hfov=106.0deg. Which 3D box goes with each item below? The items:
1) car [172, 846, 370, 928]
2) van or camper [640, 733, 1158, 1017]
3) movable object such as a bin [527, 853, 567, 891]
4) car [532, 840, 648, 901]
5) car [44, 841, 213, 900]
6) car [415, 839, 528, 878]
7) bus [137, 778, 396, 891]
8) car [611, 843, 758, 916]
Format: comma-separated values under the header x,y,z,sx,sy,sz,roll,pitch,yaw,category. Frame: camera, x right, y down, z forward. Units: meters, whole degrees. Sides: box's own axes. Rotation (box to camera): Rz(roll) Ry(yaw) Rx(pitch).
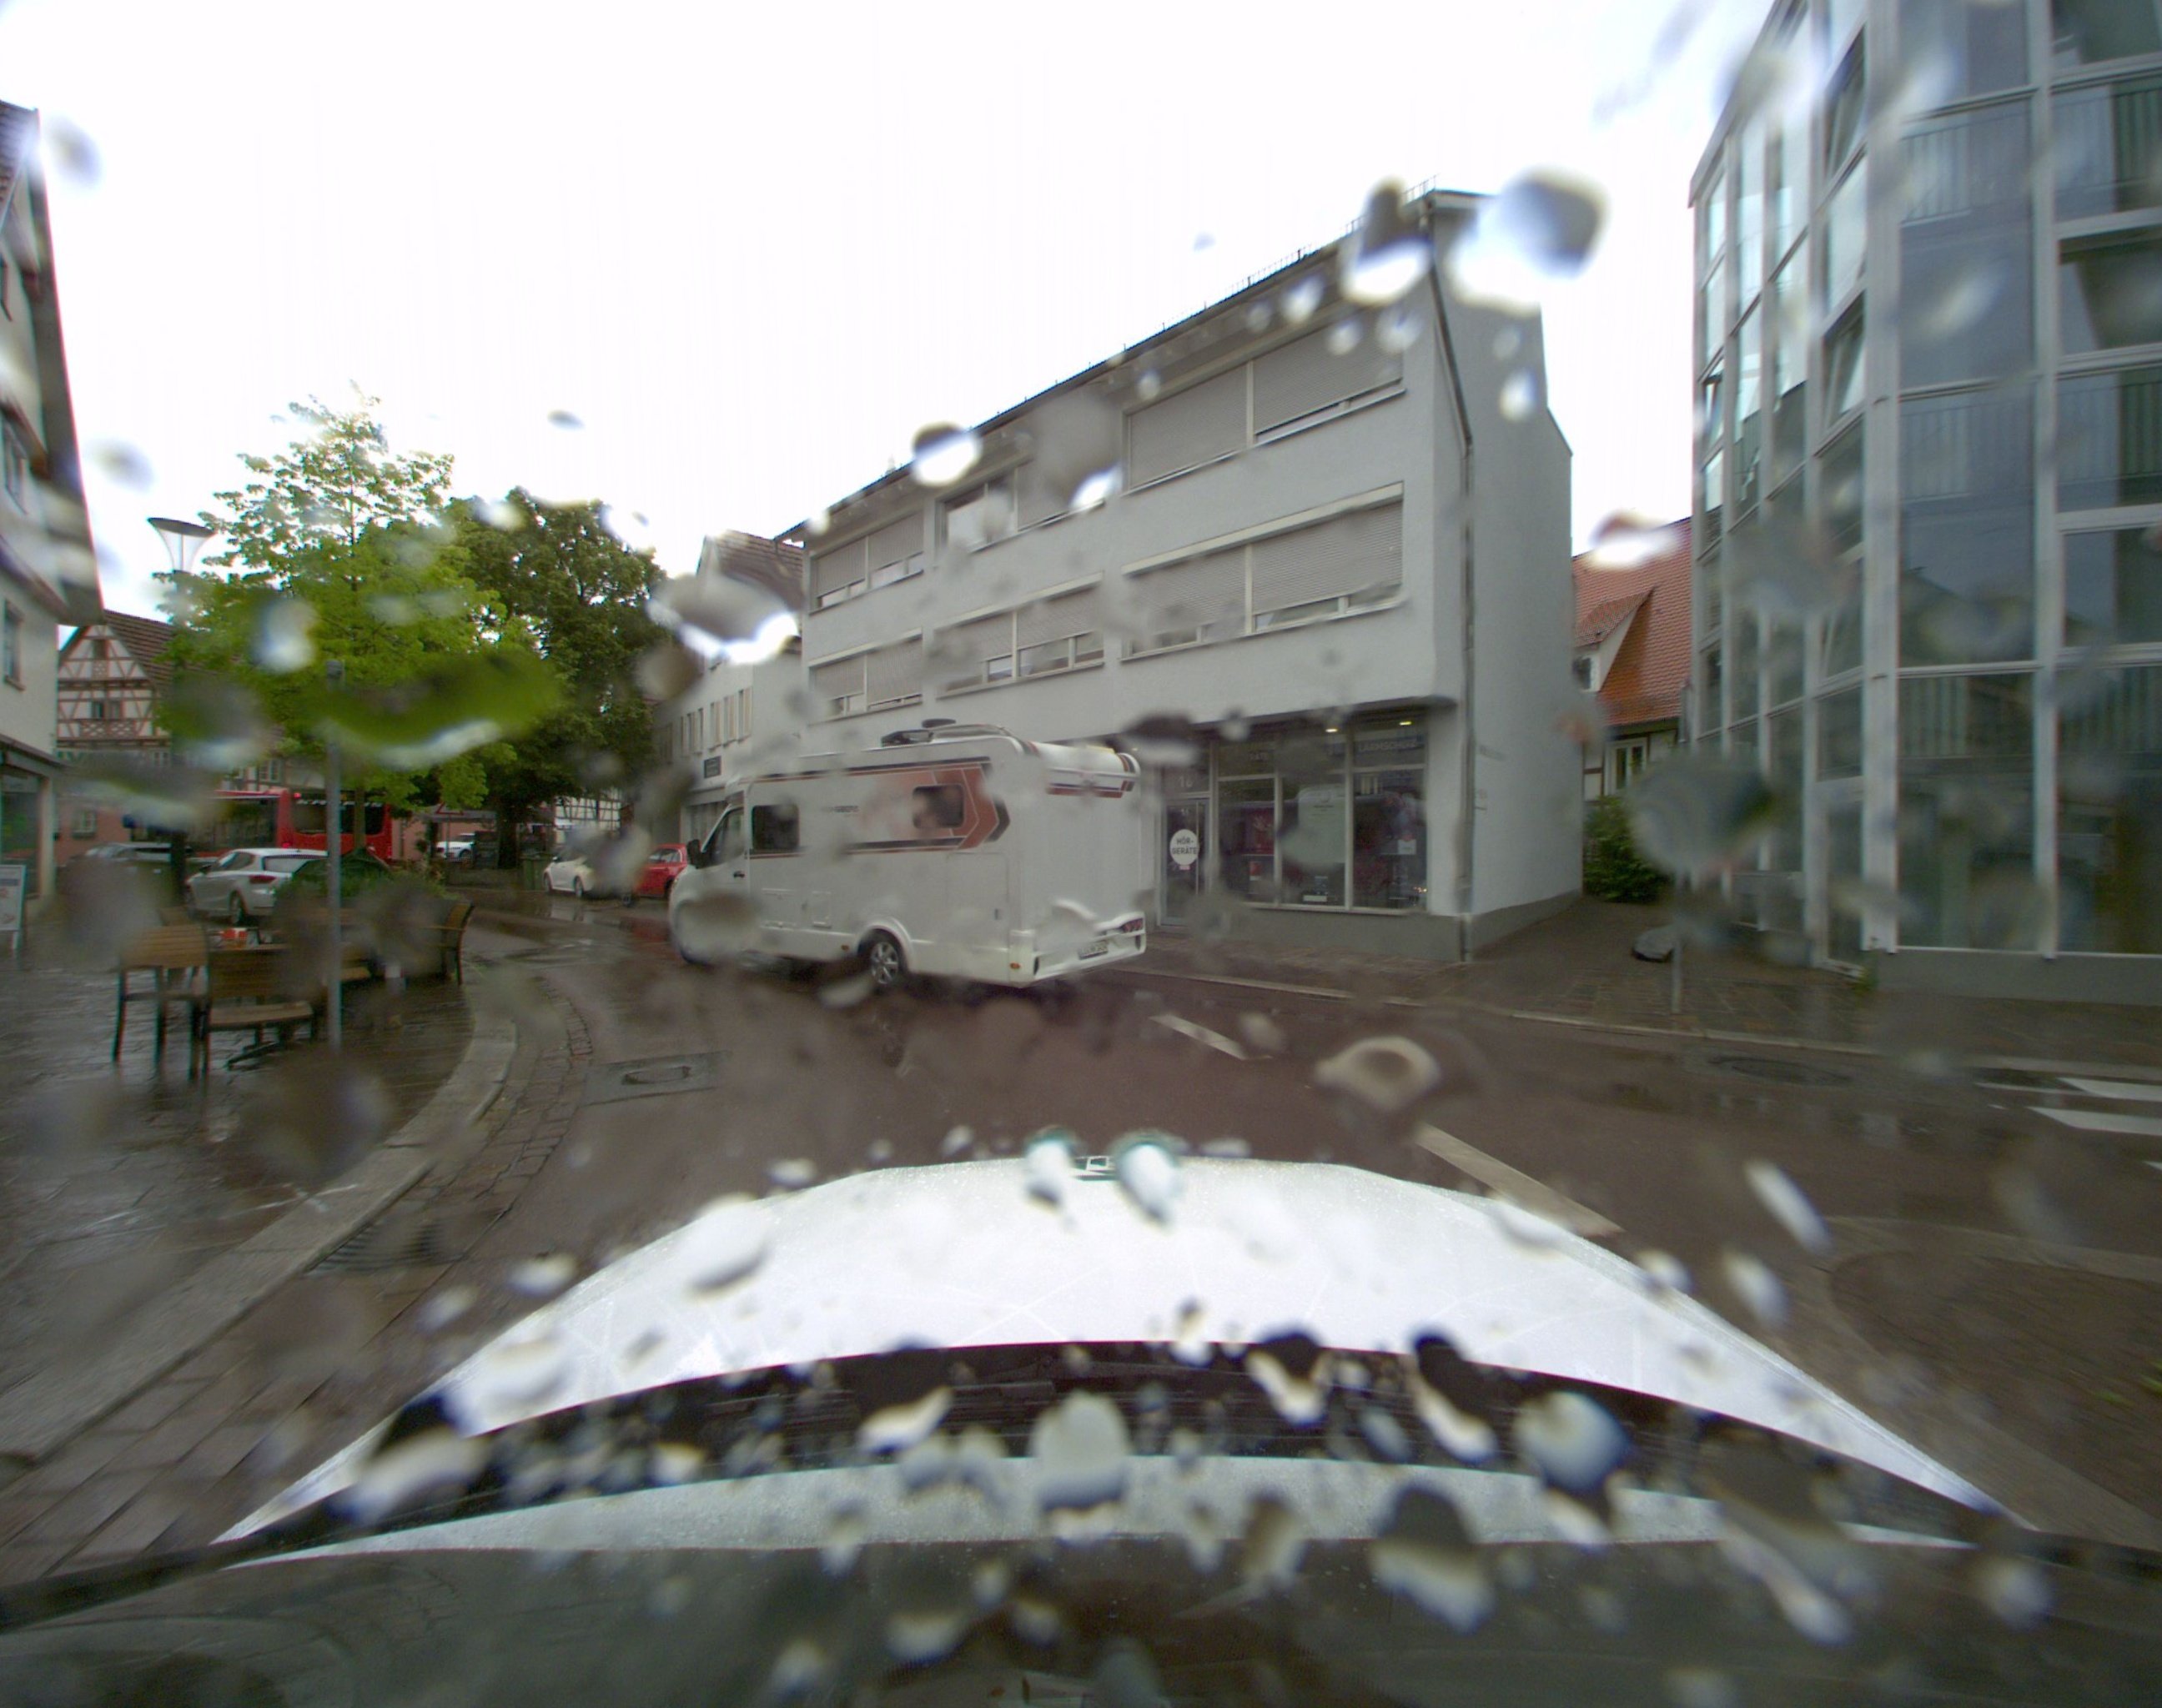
x,y,z,sx,sy,sz,roll,pitch,yaw,category
-16.150,0.600,16.212,3.930,1.414,1.737,1,-1,29,car
-2.571,0.160,10.284,6.664,2.585,2.461,0,0,34,van or camper
-16.117,0.545,24.590,0.554,1.112,0.841,0,-1,35,movable object such as a bin
-13.756,0.383,22.757,3.751,1.528,1.693,1,2,41,car
-25.563,0.406,21.866,3.933,1.414,1.736,1,0,22,car
-24.438,0.176,32.693,3.554,1.478,1.563,0,-1,-39,car
-26.147,-0.569,25.946,10.473,3.088,2.839,0,2,28,bus
-9.398,0.517,19.198,3.750,1.528,1.693,1,1,39,car
